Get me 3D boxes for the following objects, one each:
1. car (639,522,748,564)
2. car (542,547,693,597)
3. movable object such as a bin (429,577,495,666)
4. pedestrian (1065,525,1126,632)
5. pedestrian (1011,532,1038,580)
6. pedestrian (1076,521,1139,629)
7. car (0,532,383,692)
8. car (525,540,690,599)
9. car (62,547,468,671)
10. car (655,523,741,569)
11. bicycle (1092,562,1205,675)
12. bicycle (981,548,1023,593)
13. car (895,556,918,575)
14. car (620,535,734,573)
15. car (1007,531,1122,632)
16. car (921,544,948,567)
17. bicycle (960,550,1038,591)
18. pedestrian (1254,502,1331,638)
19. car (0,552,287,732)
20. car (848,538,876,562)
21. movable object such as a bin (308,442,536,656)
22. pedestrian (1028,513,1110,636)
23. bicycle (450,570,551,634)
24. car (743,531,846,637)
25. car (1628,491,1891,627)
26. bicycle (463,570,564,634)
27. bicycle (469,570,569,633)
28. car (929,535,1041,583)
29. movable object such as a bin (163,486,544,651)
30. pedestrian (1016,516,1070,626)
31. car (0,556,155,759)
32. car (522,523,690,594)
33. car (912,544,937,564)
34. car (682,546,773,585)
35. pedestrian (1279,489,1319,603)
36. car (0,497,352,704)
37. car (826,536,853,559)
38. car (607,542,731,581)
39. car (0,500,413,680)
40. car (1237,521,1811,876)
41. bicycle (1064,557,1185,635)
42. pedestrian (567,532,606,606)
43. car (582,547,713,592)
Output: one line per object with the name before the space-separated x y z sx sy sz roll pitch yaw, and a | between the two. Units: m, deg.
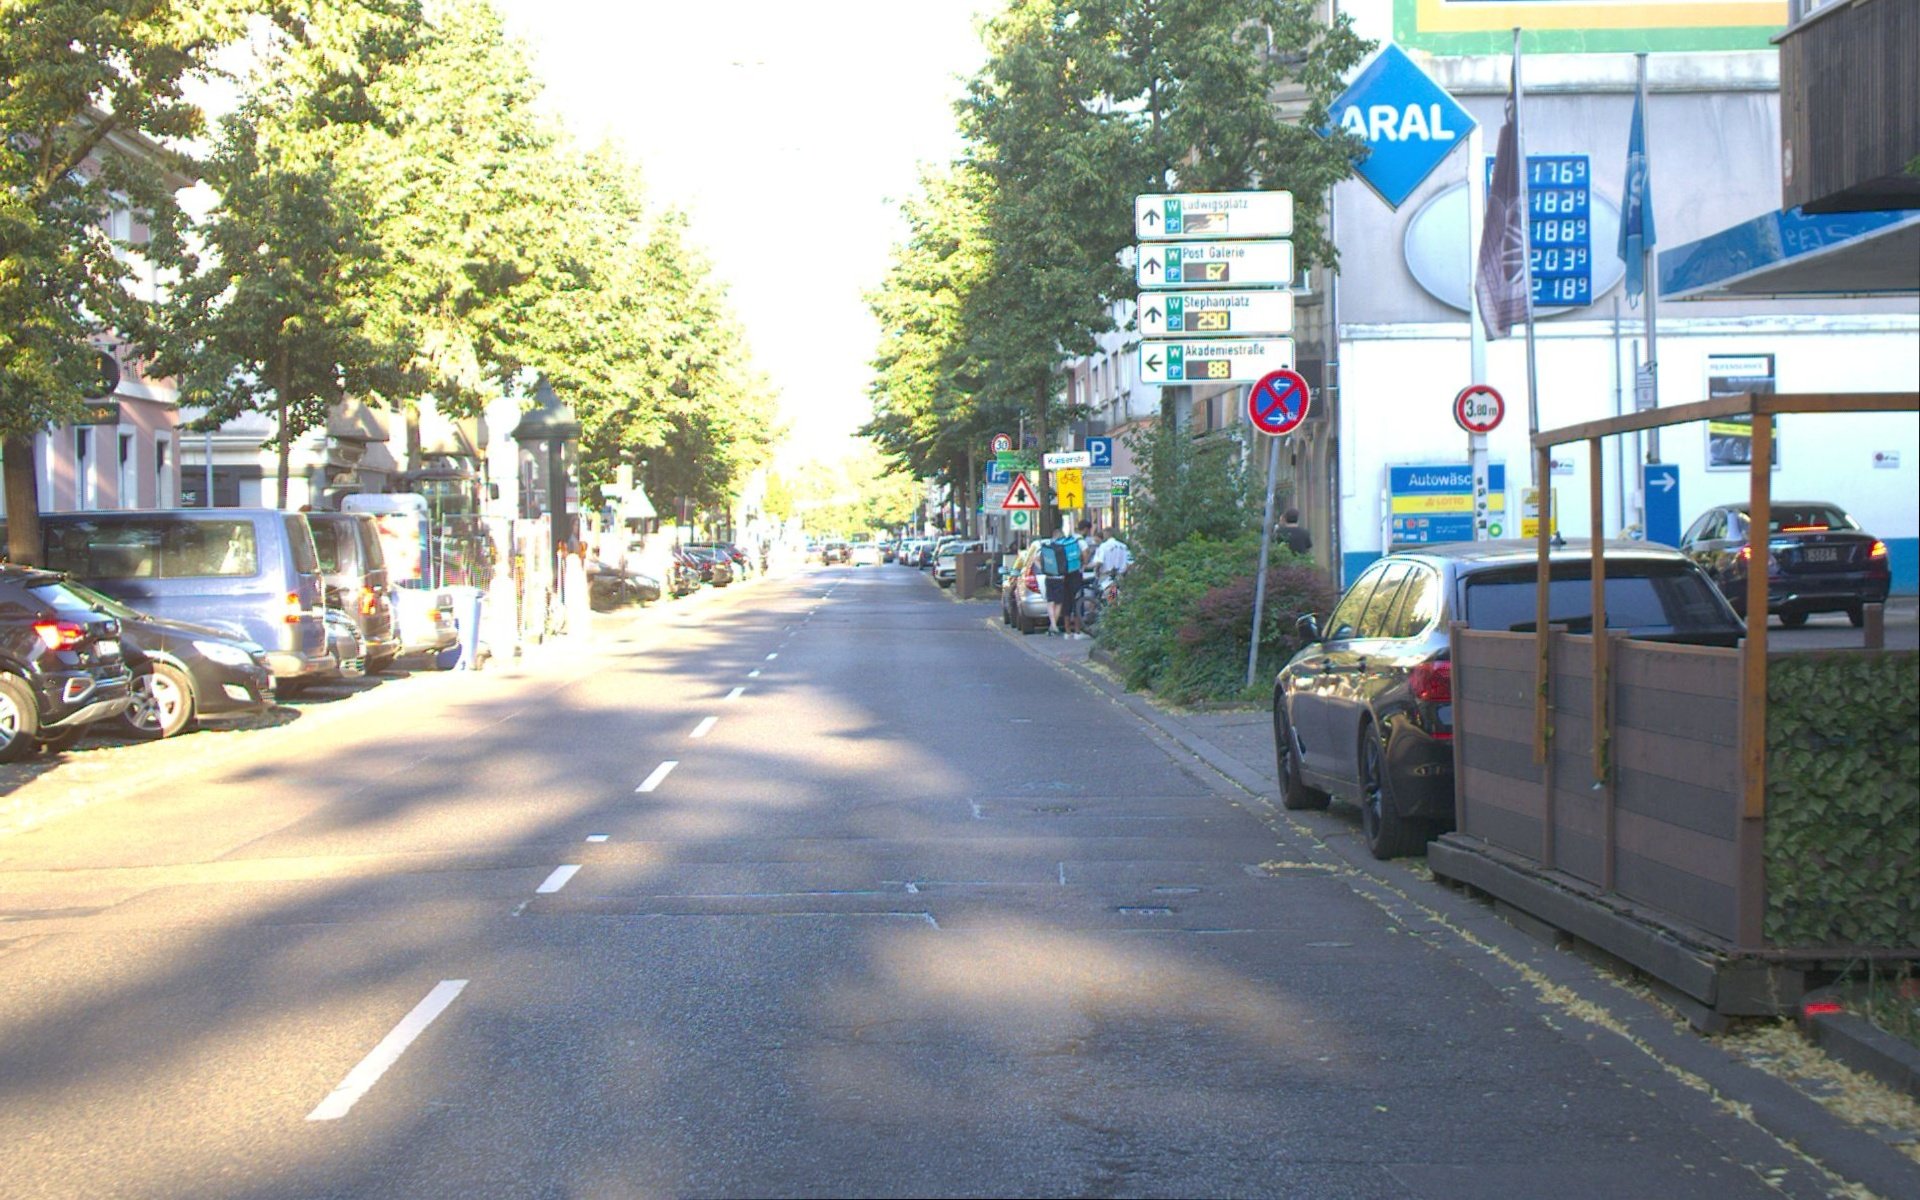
car | -11.217 -2.382 144.908 4.442 1.753 1.919 0 1 0
car | -10.386 -0.856 104.451 4.442 1.501 1.845 0 1 0
movable object such as a bin | -6.414 0.273 44.315 0.690 1.101 0.883 -1 1 1
pedestrian | 2.214 -0.350 56.144 0.677 1.700 0.825 -3 1 -16
pedestrian | 1.837 -1.261 98.505 0.726 1.374 0.781 0 1 -1
pedestrian | 2.390 -0.401 55.537 0.667 1.694 0.651 -2 1 45
car | -8.352 0.105 36.544 4.129 1.631 1.860 0 1 -1
car | -10.163 -0.887 99.456 4.571 1.692 2.060 0 1 0
car | -8.499 0.091 42.310 4.594 1.465 1.892 0 1 2
car | -13.898 -2.870 182.319 4.442 2.426 1.919 0 1 0
bicycle | 2.064 0.189 37.472 0.483 1.139 1.678 -3 1 29
bicycle | 1.128 -0.789 92.140 0.598 1.174 1.844 0 1 18
car | -3.651 -2.343 236.301 1.513 1.294 3.304 0 0 0
car | -11.385 -1.844 138.407 4.442 1.518 1.919 0 1 0
car | 1.754 -0.344 58.934 1.687 1.569 4.013 -3 1 -1
car | -1.450 -2.507 195.018 1.513 1.271 3.304 0 0 0
bicycle | 1.018 -0.784 90.677 1.957 1.070 0.704 0 1 31
pedestrian | 4.657 -0.427 48.190 0.822 1.847 1.097 -3 1 -3
car | -8.097 0.342 29.729 4.325 1.496 1.842 0 1 -6
car | -6.533 -3.300 228.382 1.752 1.535 3.304 -1 0 0
movable object such as a bin | -7.836 -0.760 50.626 2.624 2.959 5.304 -1 1 -2
pedestrian | 1.678 -0.395 53.071 1.013 1.819 0.780 -3 1 -11
bicycle | -8.045 0.035 60.269 1.682 1.075 0.444 2 0 -2
car | -3.039 -0.327 63.857 1.708 1.817 4.013 -3 1 -1
car | 9.145 -0.446 39.729 1.734 1.426 4.909 -2 0 -2
bicycle | -7.902 0.041 60.863 1.683 1.075 0.444 2 0 7
bicycle | -7.887 0.027 61.450 1.683 1.075 0.444 2 0 7
car | 0.846 -1.370 115.389 1.674 1.583 3.814 1 1 42
movable object such as a bin | -9.577 -0.532 54.690 2.312 2.486 5.741 0 1 42
pedestrian | 1.349 -0.472 55.904 0.677 1.748 0.825 -1 1 -12
car | -8.428 0.413 26.635 3.923 1.496 1.905 0 1 1
car | -9.929 -1.170 96.642 4.571 1.955 1.991 0 1 -1
car | -2.185 -2.836 213.040 1.513 1.259 3.304 0 0 0
car | -11.648 -1.737 172.372 4.442 1.953 1.919 0 1 0
pedestrian | 5.614 -0.901 56.938 0.460 1.869 0.501 -2 1 -16
car | -8.406 -0.017 33.837 4.483 1.969 2.068 0 1 -1
car | -8.568 -3.727 244.605 1.752 1.535 3.304 -1 0 0
car | -10.776 -1.434 127.544 4.442 1.444 1.919 0 1 0
car | -8.582 -0.126 39.067 4.483 1.969 1.966 0 1 -3
car | 2.699 0.392 17.656 1.828 1.483 4.850 -3 1 -3
bicycle | 2.543 -0.070 53.020 0.866 1.095 1.923 -2 2 38
pedestrian | -8.576 -0.717 78.969 0.710 1.680 0.833 0 1 8
car | -10.979 -1.078 120.904 4.442 1.562 1.919 0 1 0
